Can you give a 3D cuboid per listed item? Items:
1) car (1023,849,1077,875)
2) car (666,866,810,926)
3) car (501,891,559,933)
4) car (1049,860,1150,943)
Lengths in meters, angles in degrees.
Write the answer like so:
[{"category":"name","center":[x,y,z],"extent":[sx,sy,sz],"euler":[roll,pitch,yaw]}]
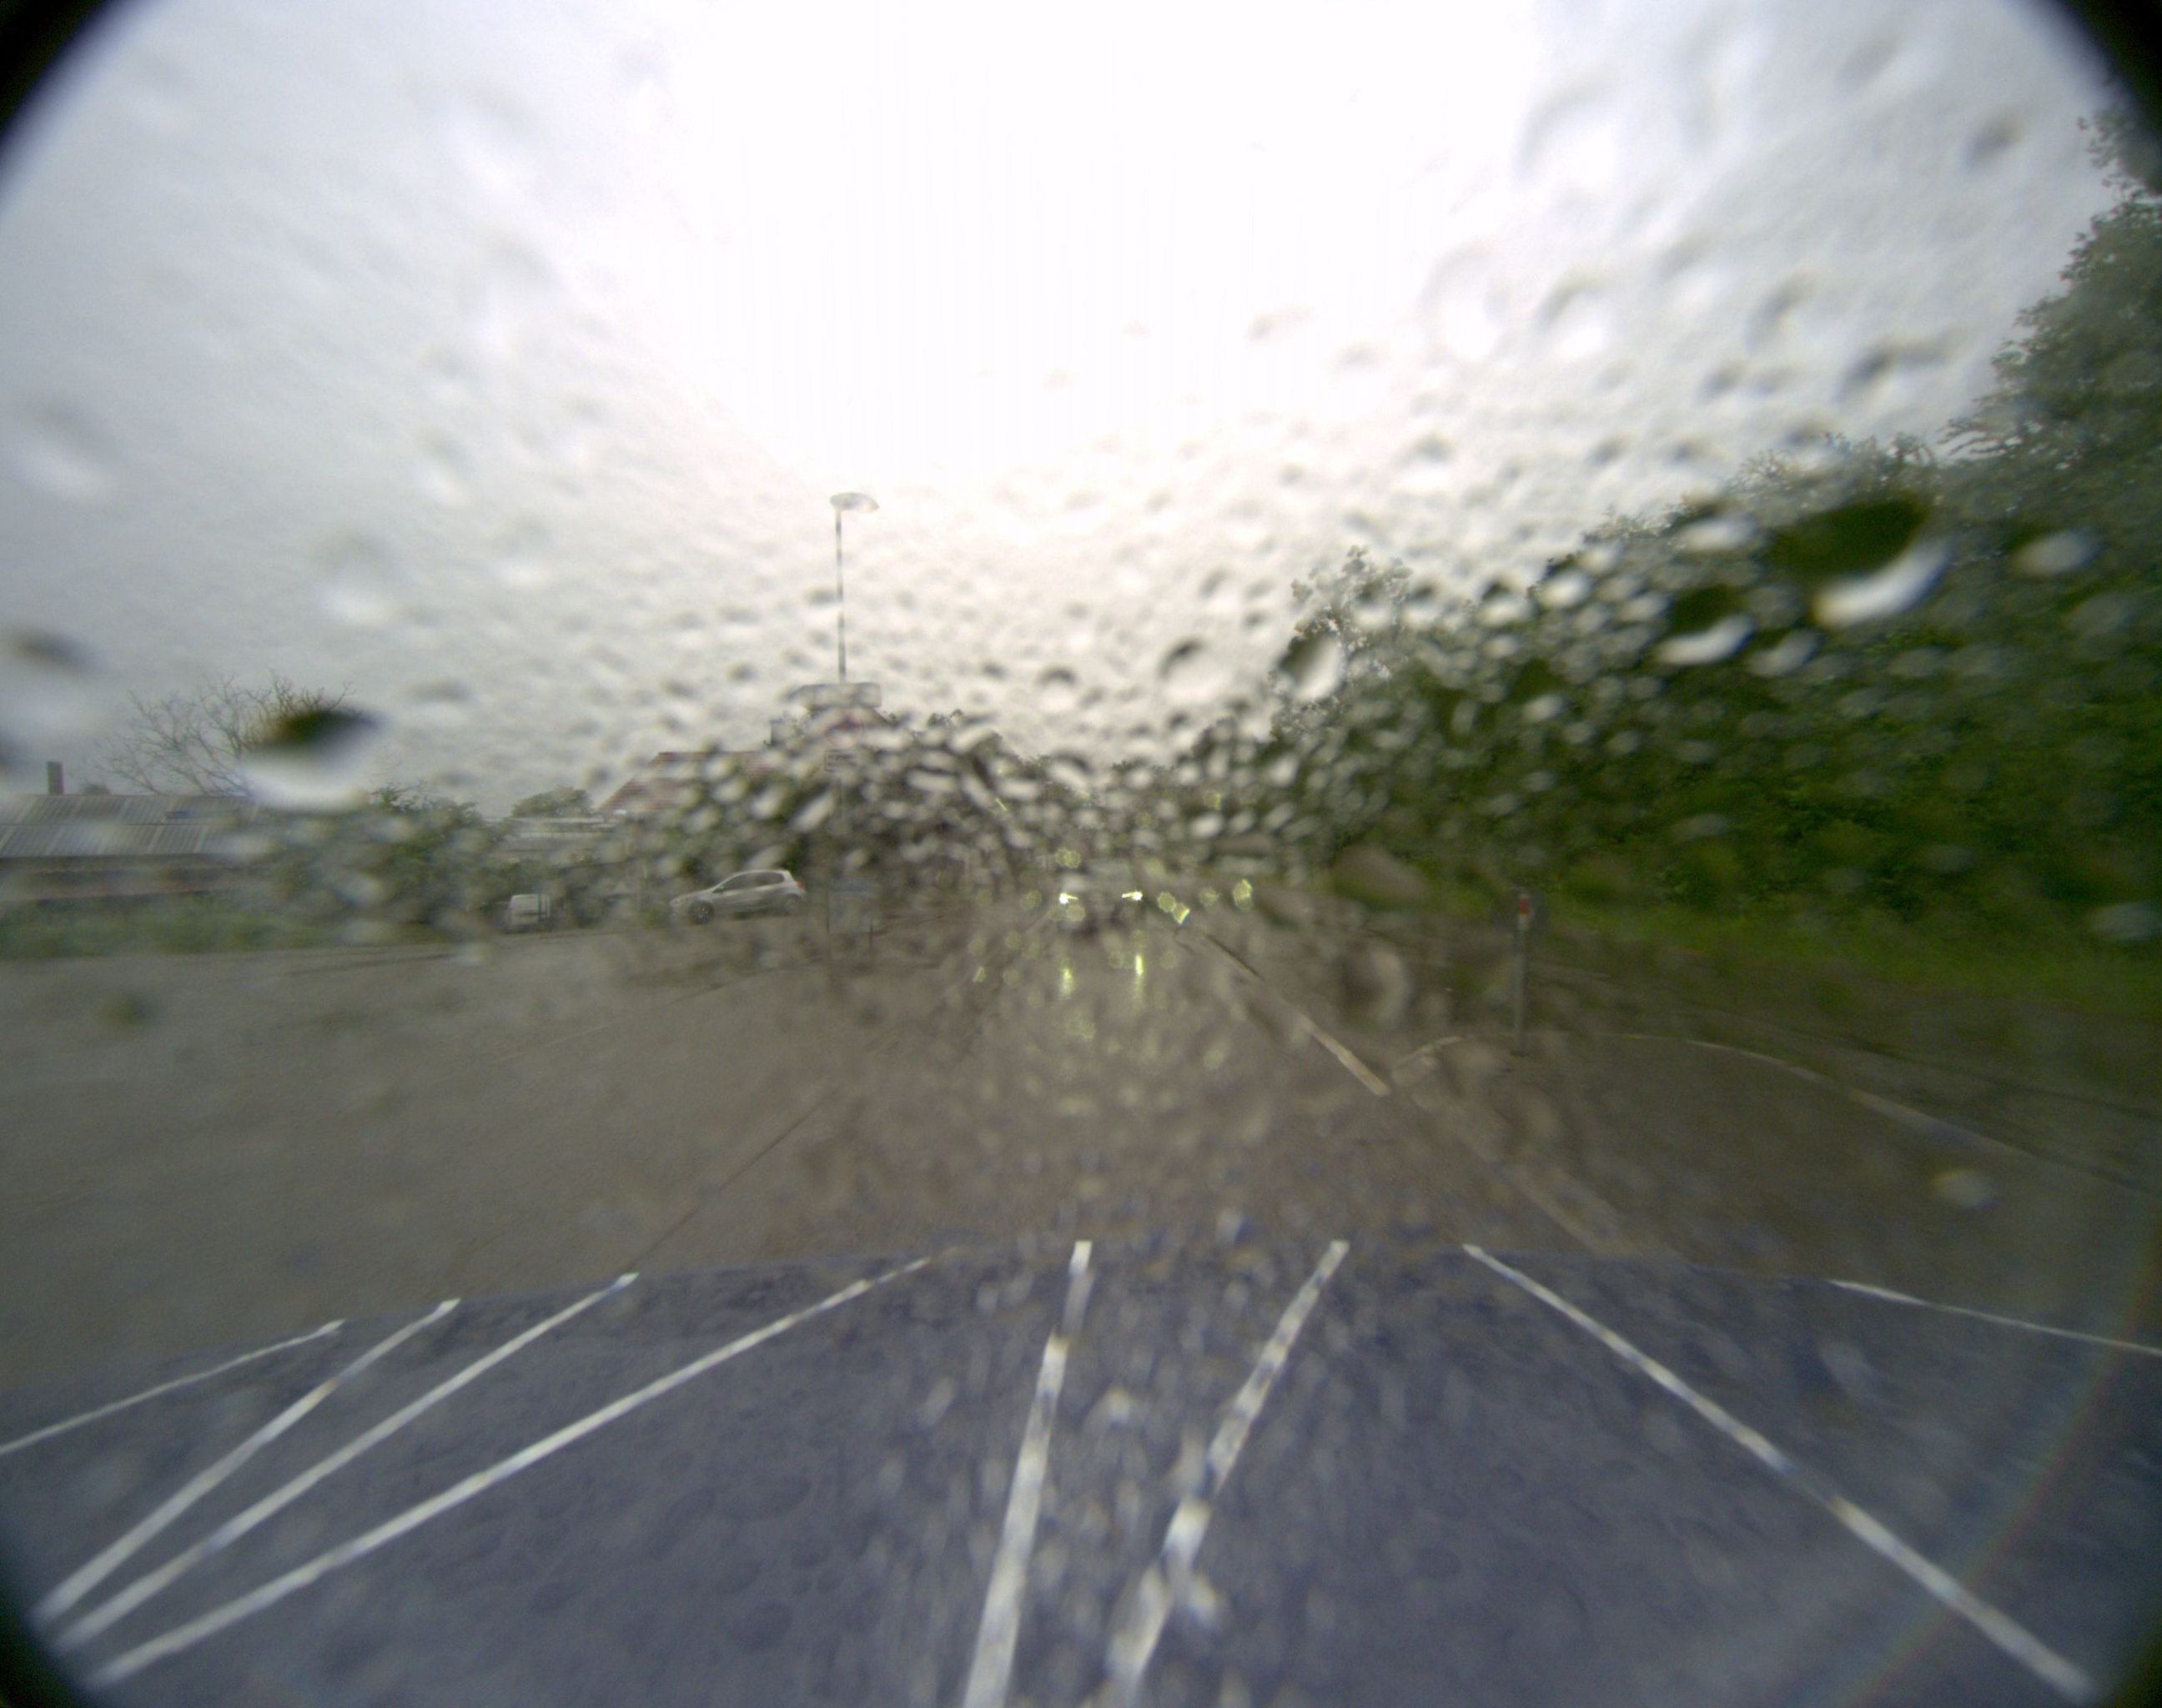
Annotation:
[{"category":"car","center":[-2.475,0.594,60.855],"extent":[3.948,1.853,1.839],"euler":[-3,1,12]},{"category":"car","center":[-10.689,1.244,23.744],"extent":[3.862,1.523,1.715],"euler":[-3,1,-31]},{"category":"car","center":[-26.165,2.680,36.018],"extent":[1.937,1.674,3.989],"euler":[-4,1,-39]},{"category":"car","center":[0.407,0.880,15.986],"extent":[1.766,1.316,4.549],"euler":[-3,1,2]}]
